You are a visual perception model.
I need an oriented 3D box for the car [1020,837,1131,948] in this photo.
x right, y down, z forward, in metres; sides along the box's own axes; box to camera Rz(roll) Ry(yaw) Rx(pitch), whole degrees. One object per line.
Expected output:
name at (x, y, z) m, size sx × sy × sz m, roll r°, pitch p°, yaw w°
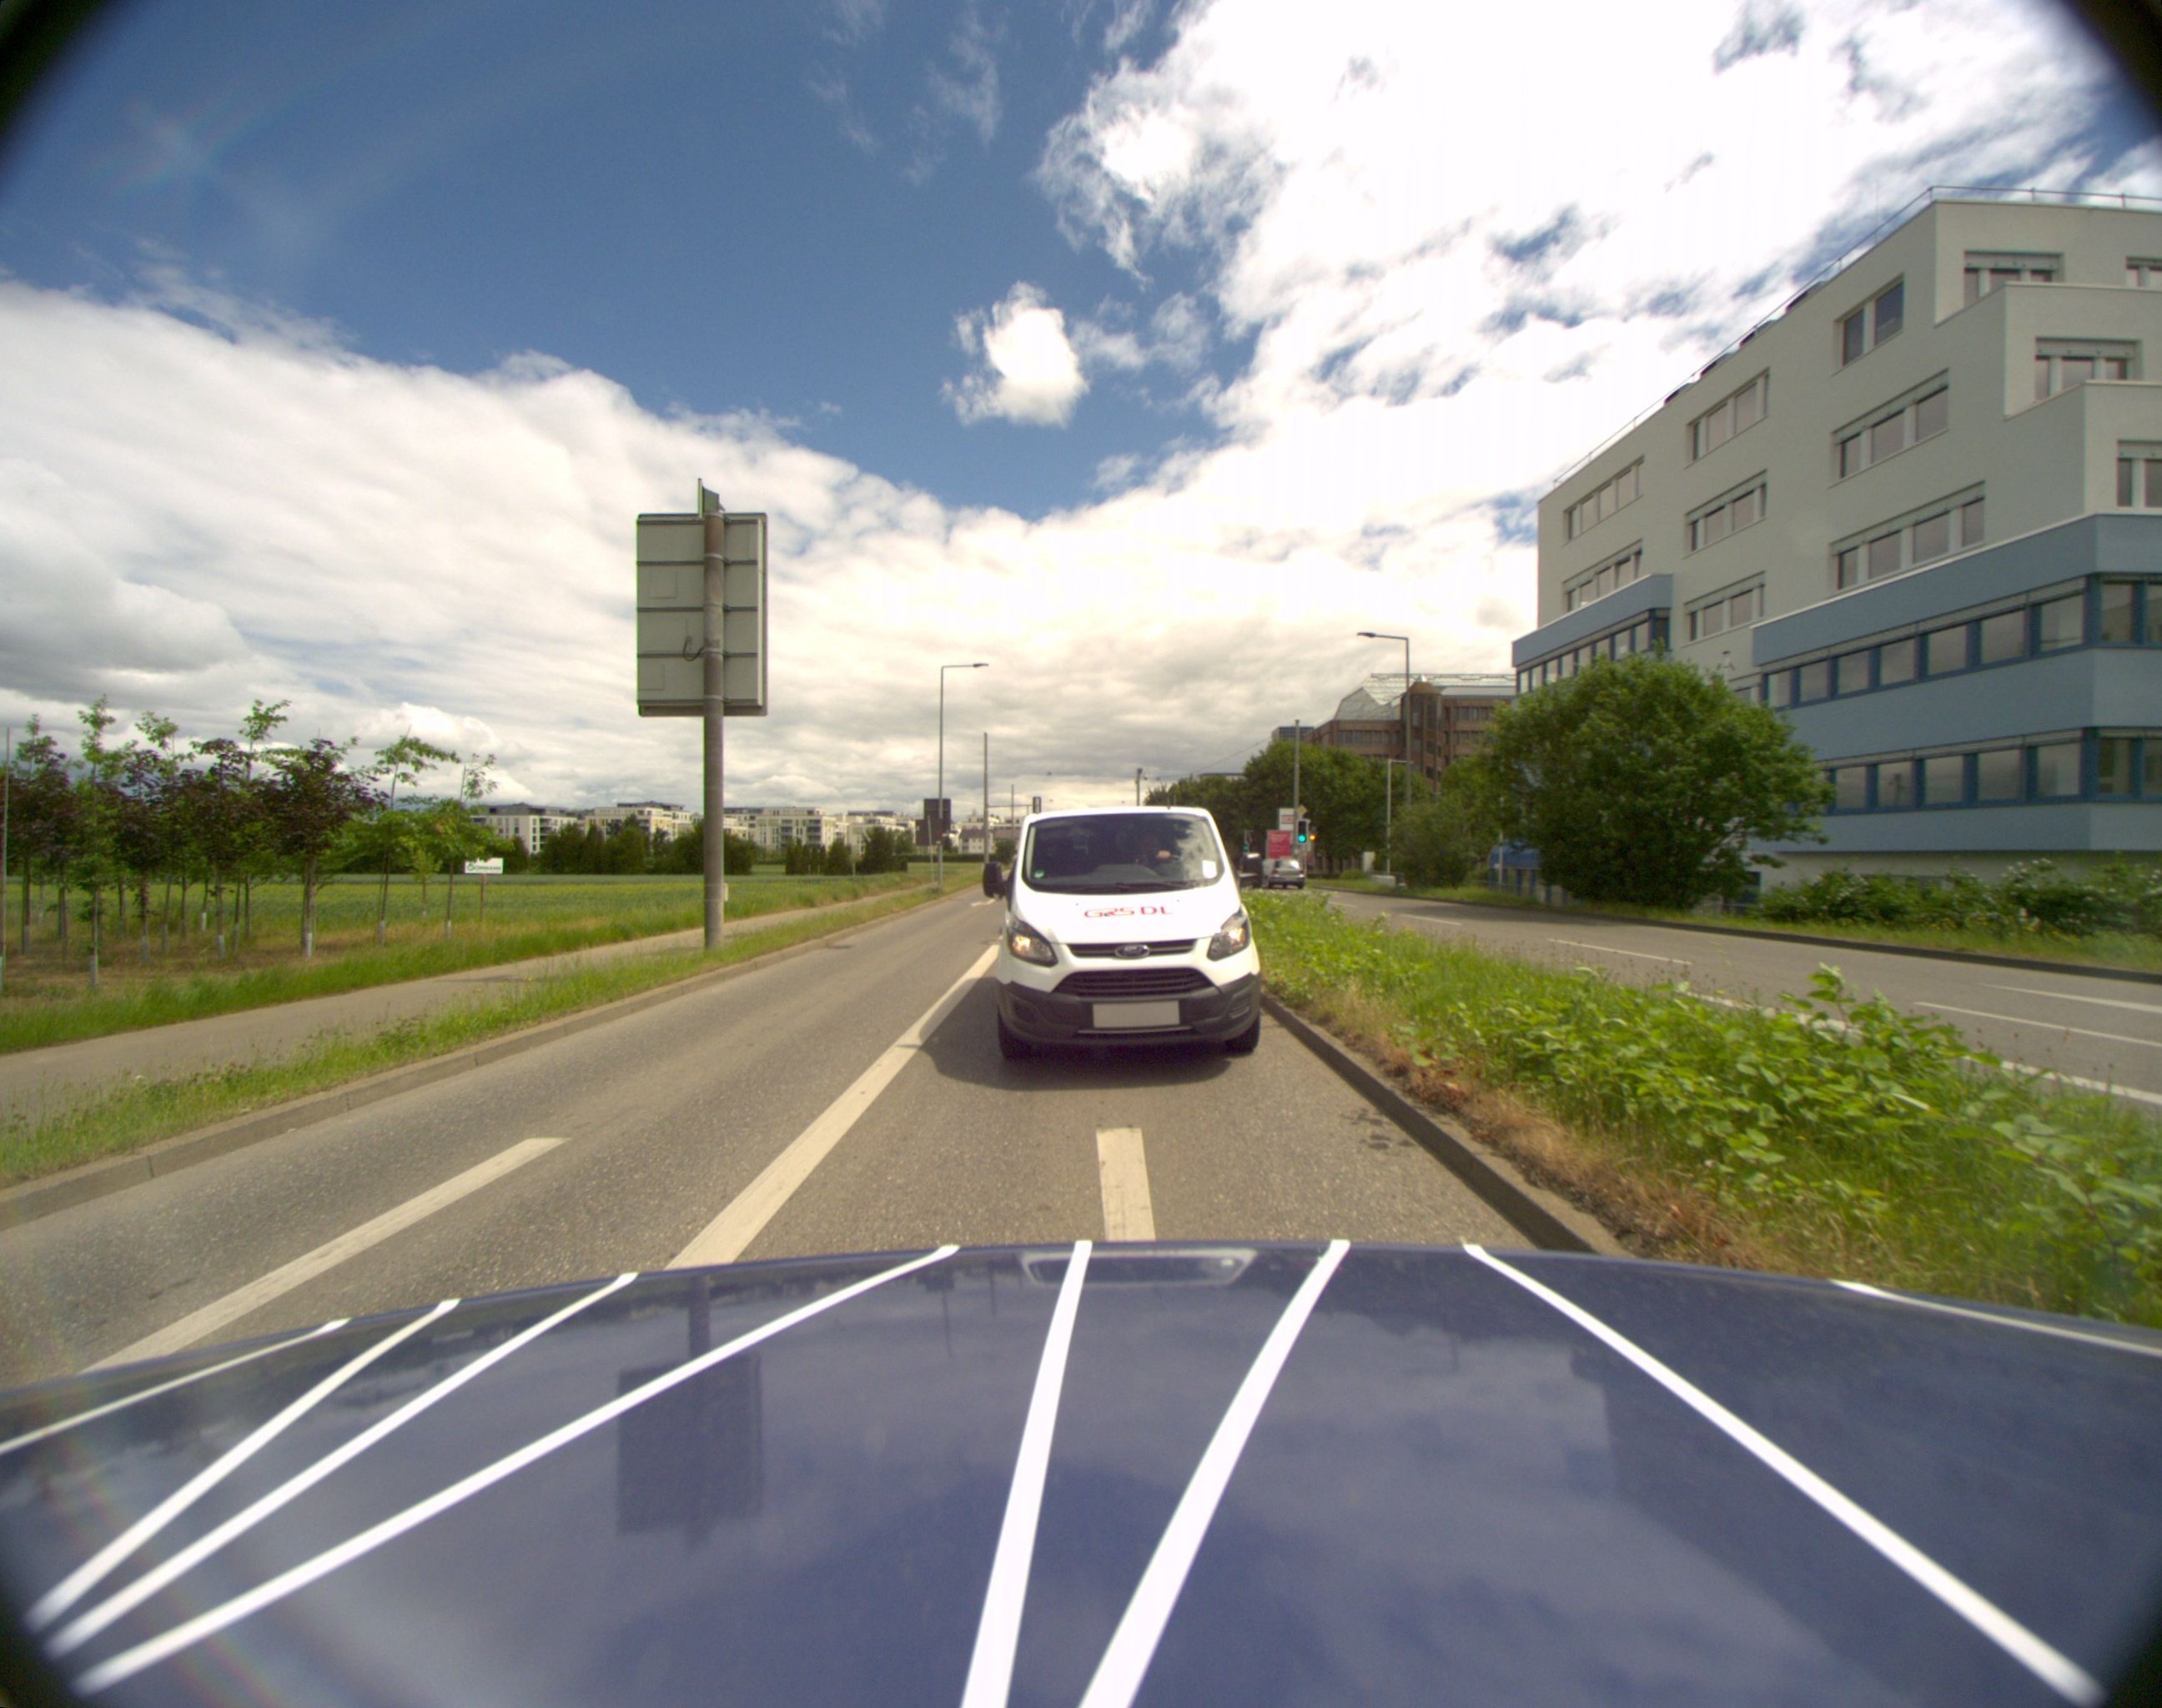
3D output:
car at (-0.065, 0.693, 15.795) m, size 1.998 × 2.002 × 4.000 m, roll 0°, pitch 0°, yaw 1°

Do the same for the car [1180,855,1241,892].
car at (5.730, 0.828, 34.150) m, size 1.940 × 1.508 × 3.999 m, roll -1°, pitch 0°, yaw -2°

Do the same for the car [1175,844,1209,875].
car at (8.785, 0.409, 60.516) m, size 1.998 × 2.398 × 5.240 m, roll 0°, pitch 0°, yaw 0°

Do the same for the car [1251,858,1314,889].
car at (9.537, 0.885, 36.300) m, size 1.998 × 1.346 × 4.000 m, roll -1°, pitch 0°, yaw 1°

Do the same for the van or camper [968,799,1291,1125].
van or camper at (0.192, 0.667, 7.596) m, size 1.999 × 2.002 × 5.798 m, roll 0°, pitch 0°, yaw -2°
